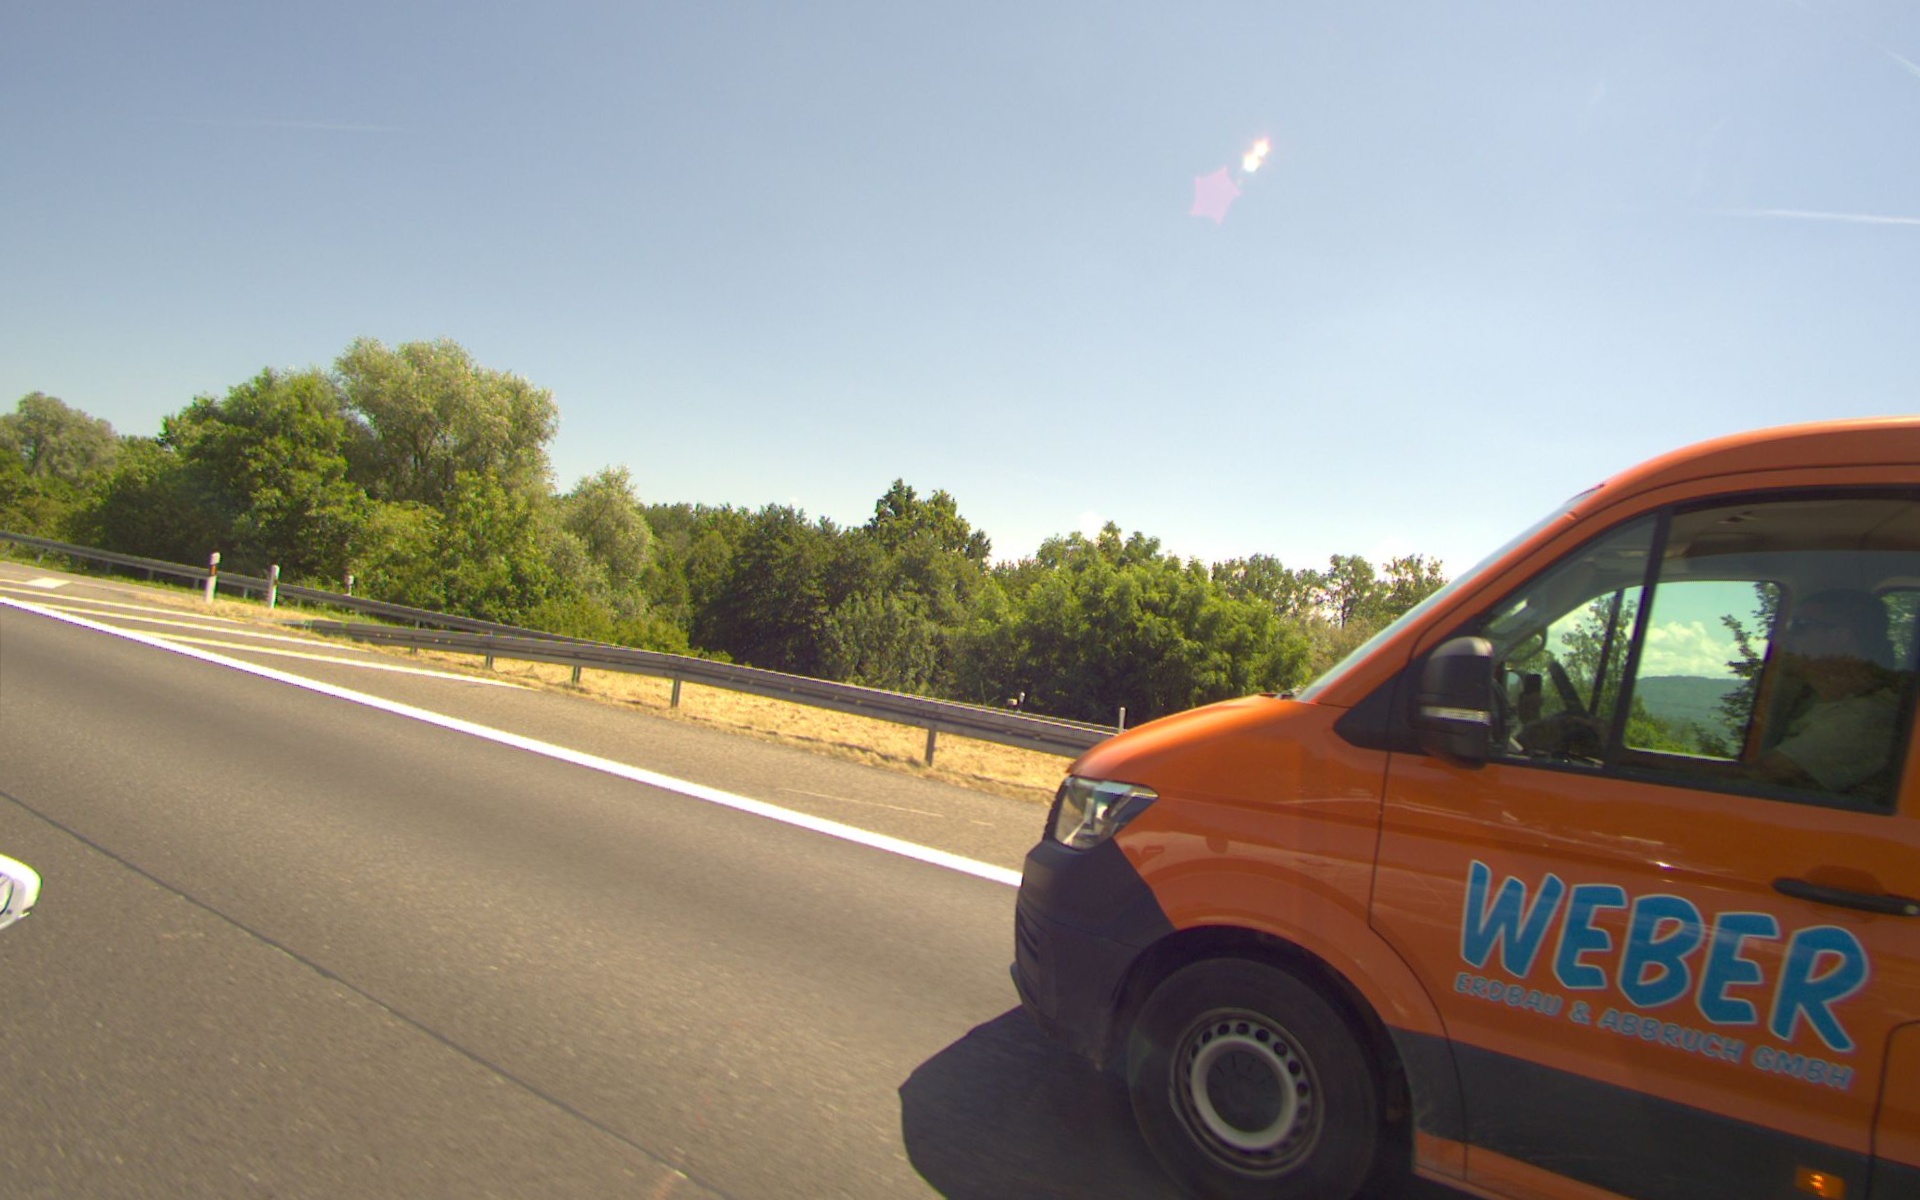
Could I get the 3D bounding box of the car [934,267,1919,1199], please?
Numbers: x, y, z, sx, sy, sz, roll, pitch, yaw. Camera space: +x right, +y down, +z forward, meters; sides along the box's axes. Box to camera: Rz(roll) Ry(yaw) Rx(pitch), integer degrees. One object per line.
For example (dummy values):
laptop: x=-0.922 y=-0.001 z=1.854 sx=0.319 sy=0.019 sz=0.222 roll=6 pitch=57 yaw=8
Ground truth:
car: x=3.585 y=0.768 z=2.157 sx=7.106 sy=2.432 sz=1.998 roll=7 pitch=-2 yaw=32
